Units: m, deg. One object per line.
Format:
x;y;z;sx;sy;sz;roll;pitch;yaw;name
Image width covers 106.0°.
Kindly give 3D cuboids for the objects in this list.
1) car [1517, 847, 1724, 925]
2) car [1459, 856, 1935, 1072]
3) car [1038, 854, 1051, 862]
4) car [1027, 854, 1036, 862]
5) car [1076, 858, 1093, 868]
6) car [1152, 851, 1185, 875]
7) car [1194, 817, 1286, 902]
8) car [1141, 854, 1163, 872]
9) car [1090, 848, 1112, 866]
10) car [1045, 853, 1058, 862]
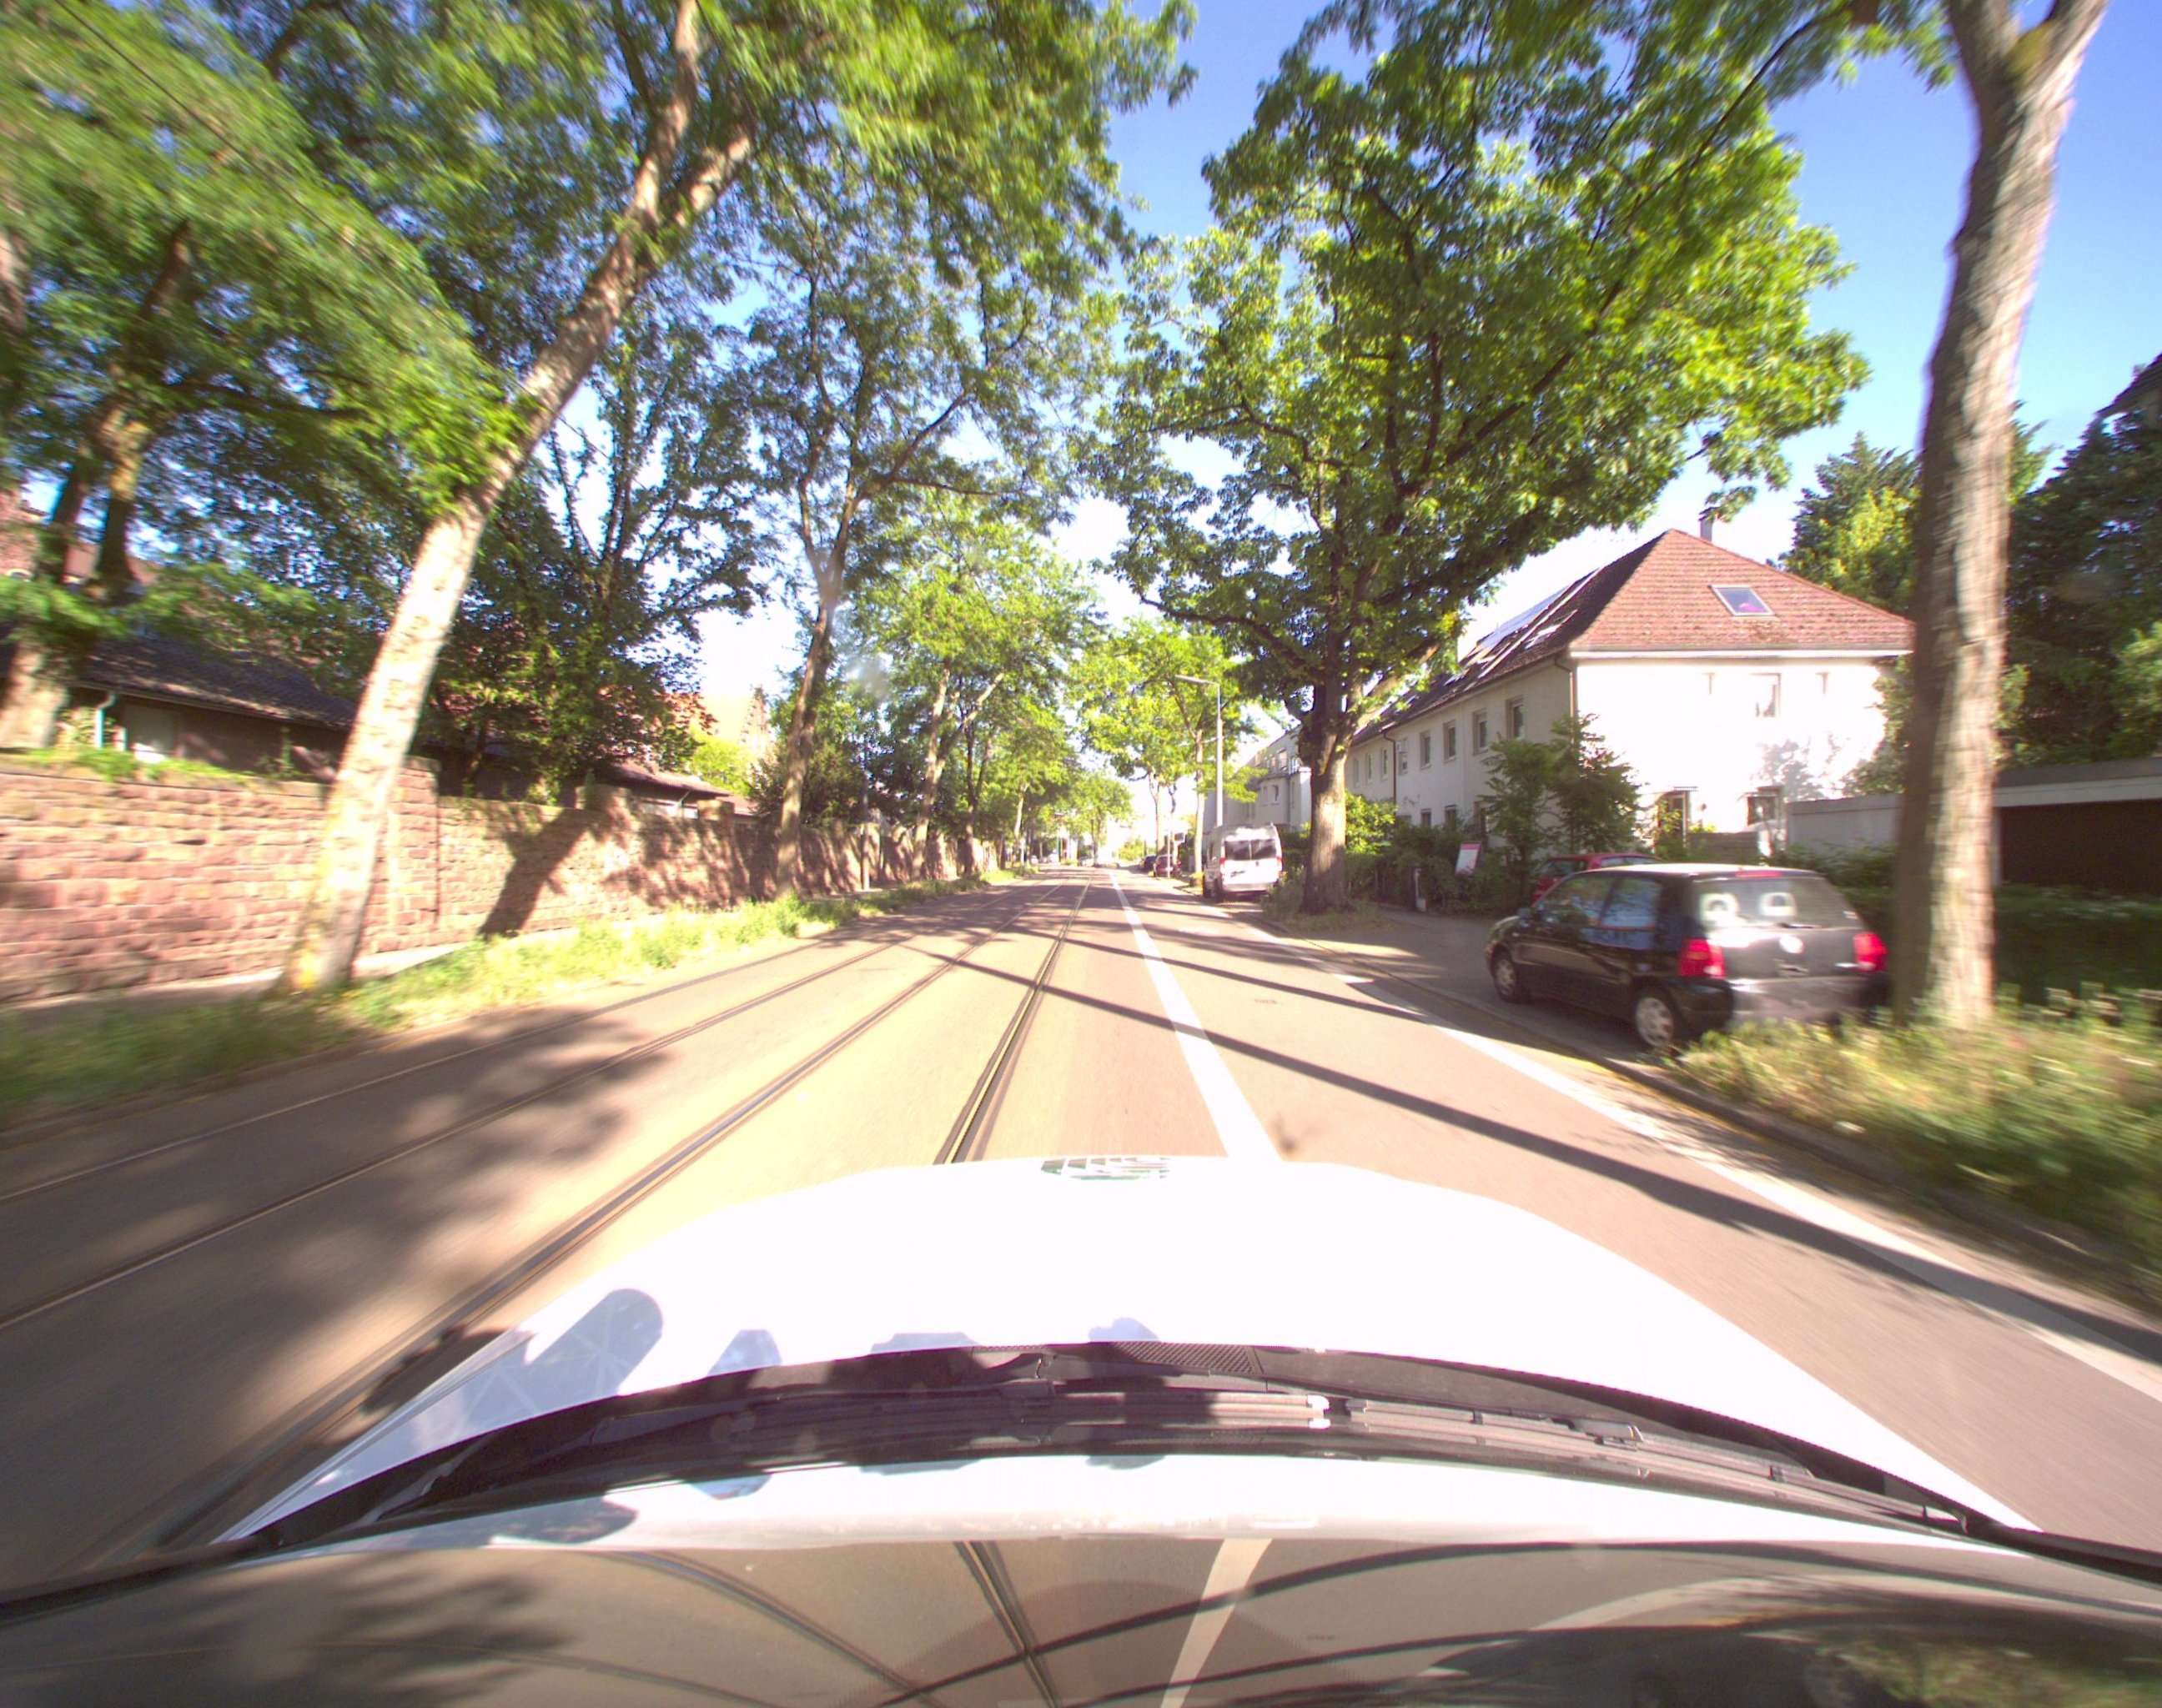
11.282;0.633;17.119;3.400;1.436;1.727;-2;0;-12;car
5.143;0.774;7.505;1.621;1.397;3.646;-3;0;1;car
-8.402;0.953;188.099;2.007;1.675;4.149;-2;0;-16;car
-10.041;0.855;166.005;1.862;1.675;4.168;-1;0;-3;car
0.601;1.411;132.369;2.004;1.560;4.375;-1;0;-11;car
6.493;0.679;60.963;1.996;1.675;4.393;-2;0;1;car
5.510;0.191;28.998;2.237;2.654;5.586;-2;0;1;car
6.850;0.855;78.272;1.993;1.675;4.398;-2;0;5;car
2.786;0.425;114.523;1.995;2.458;4.491;-1;0;-11;car
-6.595;0.846;182.449;2.007;1.910;4.367;-2;0;-16;car
